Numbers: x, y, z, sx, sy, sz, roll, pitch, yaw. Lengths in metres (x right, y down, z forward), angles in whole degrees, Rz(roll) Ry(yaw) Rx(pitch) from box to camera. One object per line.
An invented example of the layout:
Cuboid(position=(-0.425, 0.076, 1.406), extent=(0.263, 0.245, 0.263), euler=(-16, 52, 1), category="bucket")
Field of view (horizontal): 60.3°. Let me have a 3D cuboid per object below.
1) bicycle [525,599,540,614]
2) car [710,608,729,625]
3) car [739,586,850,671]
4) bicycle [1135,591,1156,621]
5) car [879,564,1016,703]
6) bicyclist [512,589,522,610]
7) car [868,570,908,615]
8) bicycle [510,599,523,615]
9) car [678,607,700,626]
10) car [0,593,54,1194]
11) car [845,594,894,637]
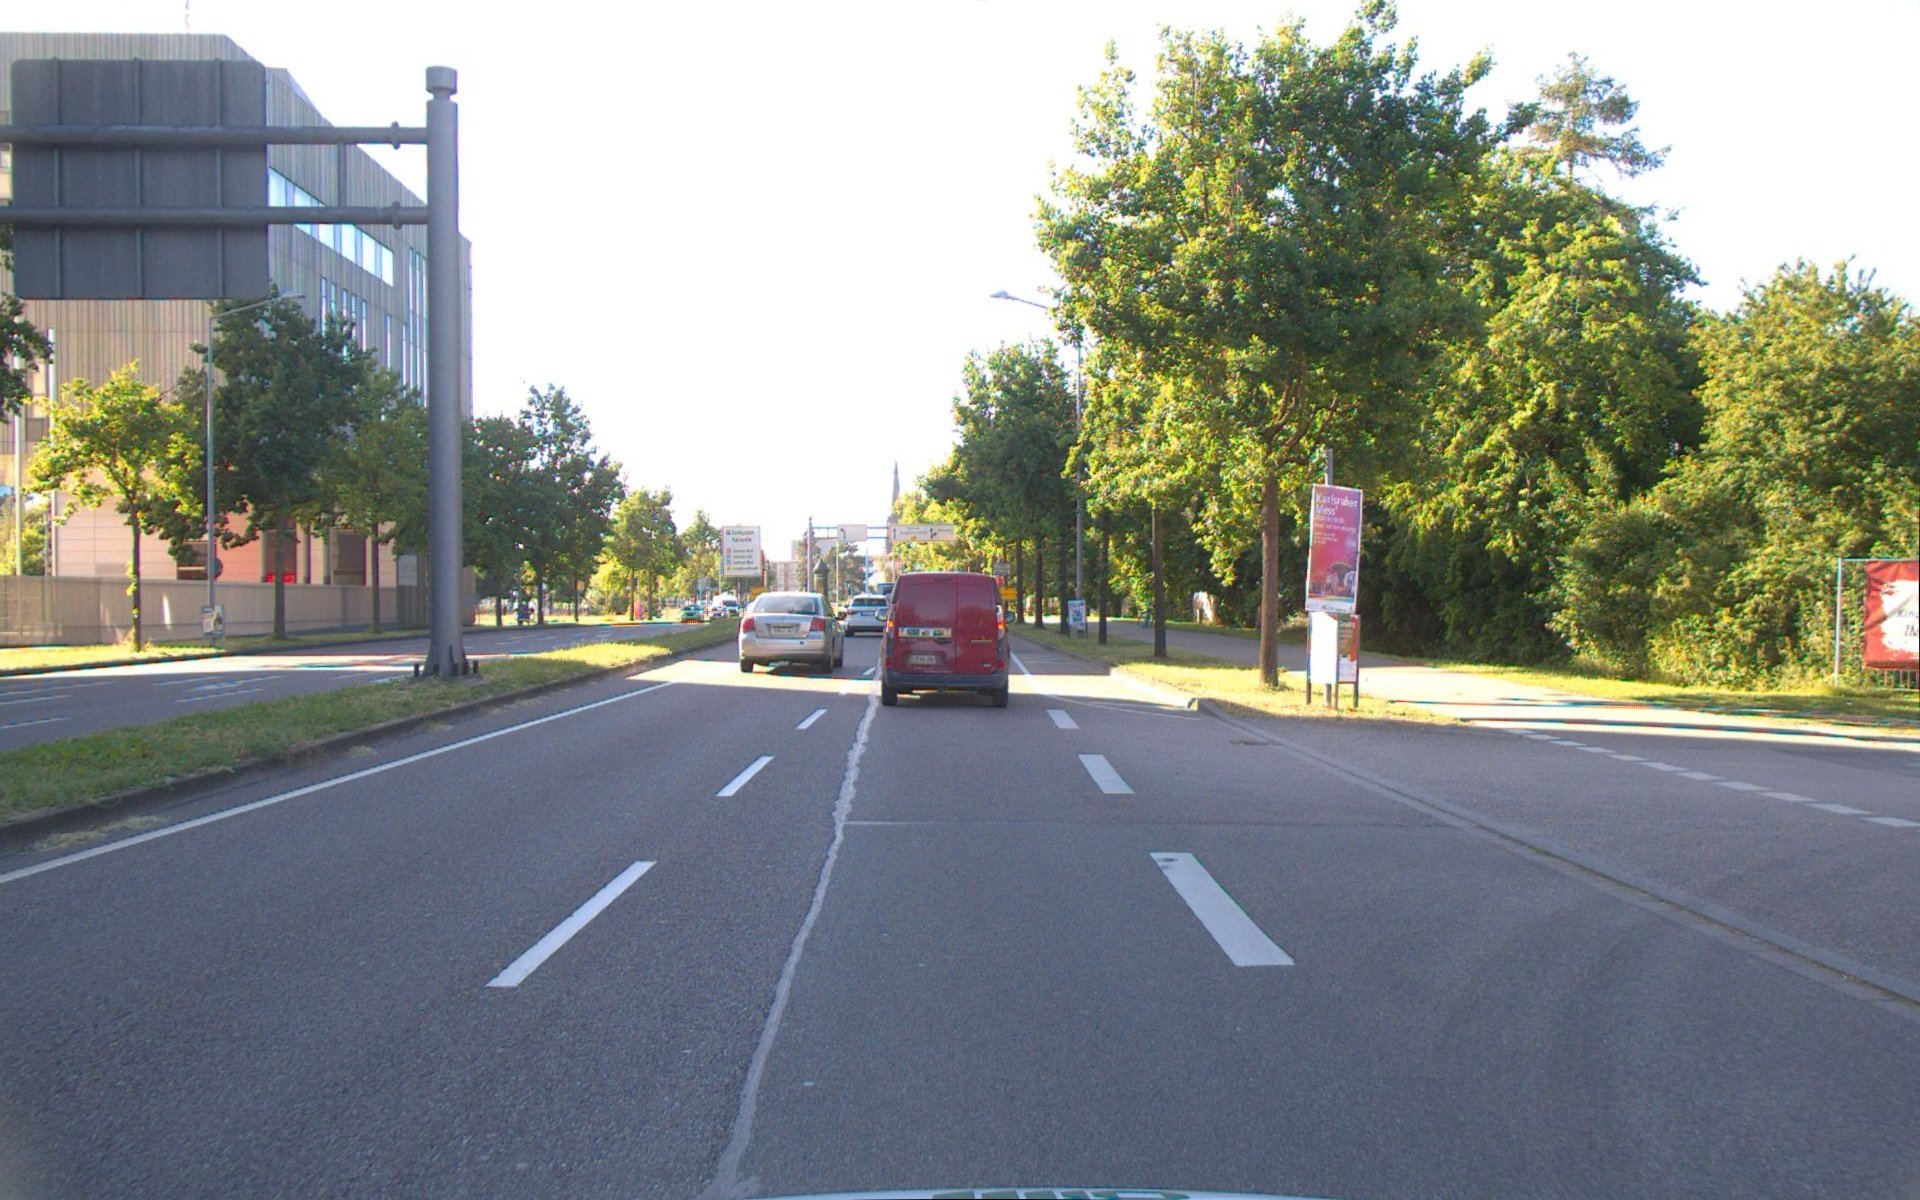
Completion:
Cuboid(position=(-28.783, 0.449, 111.343), extent=(0.559, 1.021, 2.095), euler=(-1, 0, -3), category="bicycle")
Cuboid(position=(-22.927, 1.571, 157.804), extent=(1.520, 1.534, 4.024), euler=(-1, 0, -4), category="car")
Cuboid(position=(-3.093, 0.504, 31.590), extent=(1.804, 1.482, 4.161), euler=(1, 0, -2), category="car")
Cuboid(position=(7.218, 0.215, 64.420), extent=(0.757, 1.151, 1.709), euler=(-1, 0, 6), category="bicycle")
Cuboid(position=(-0.243, 0.435, 23.598), extent=(1.770, 1.790, 4.004), euler=(1, 0, -3), category="car")
Cuboid(position=(-29.860, -0.015, 111.441), extent=(0.472, 1.419, 0.844), euler=(-1, -1, -3), category="bicyclist")
Cuboid(position=(-3.083, -0.328, 70.913), extent=(1.628, 1.889, 3.557), euler=(-1, 0, -3), category="car")
Cuboid(position=(-29.846, 0.462, 111.320), extent=(0.477, 1.021, 2.095), euler=(-1, 0, -3), category="bicycle")
Cuboid(position=(-21.829, 1.340, 133.168), extent=(1.417, 1.461, 3.457), euler=(-1, 0, -4), category="car")
Cuboid(position=(-3.127, 0.712, 2.122), extent=(1.742, 1.433, 4.074), euler=(0, 0, -1), category="car")
Cuboid(position=(-3.117, 0.523, 57.358), extent=(1.628, 1.422, 3.557), euler=(-1, 0, -3), category="car")
